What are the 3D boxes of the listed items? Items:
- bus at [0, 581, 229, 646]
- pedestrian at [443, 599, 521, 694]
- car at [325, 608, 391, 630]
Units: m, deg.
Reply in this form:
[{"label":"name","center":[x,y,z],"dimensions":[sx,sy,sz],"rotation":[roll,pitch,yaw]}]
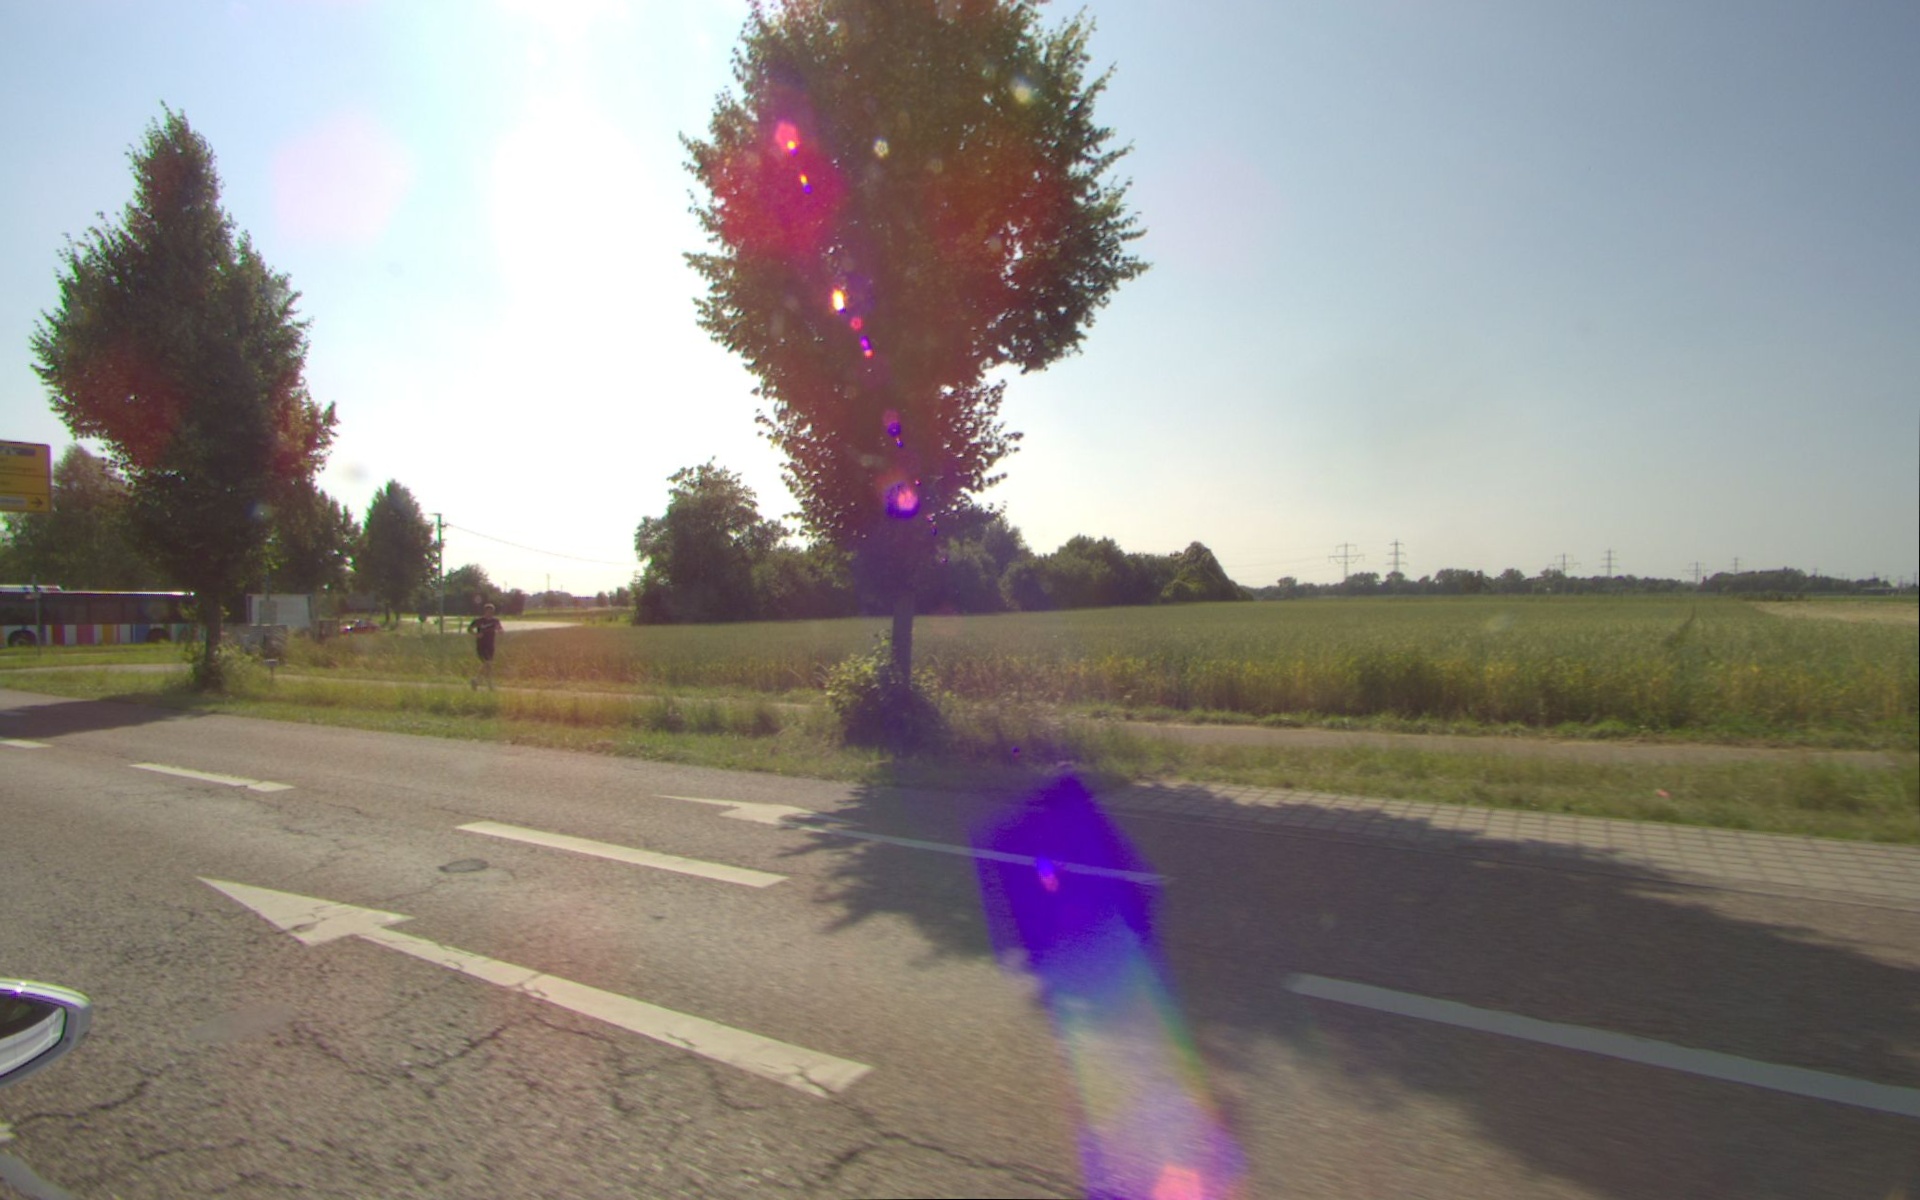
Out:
[{"label":"bus","center":[-43.147,0.577,49.480],"dimensions":[2.889,2.915,11.956],"rotation":[-1,0,17]},{"label":"pedestrian","center":[-9.648,0.914,20.223],"dimensions":[1.177,1.864,0.900],"rotation":[0,1,30]},{"label":"car","center":[-41.792,1.307,69.611],"dimensions":[1.649,1.416,3.997],"rotation":[0,0,11]}]
